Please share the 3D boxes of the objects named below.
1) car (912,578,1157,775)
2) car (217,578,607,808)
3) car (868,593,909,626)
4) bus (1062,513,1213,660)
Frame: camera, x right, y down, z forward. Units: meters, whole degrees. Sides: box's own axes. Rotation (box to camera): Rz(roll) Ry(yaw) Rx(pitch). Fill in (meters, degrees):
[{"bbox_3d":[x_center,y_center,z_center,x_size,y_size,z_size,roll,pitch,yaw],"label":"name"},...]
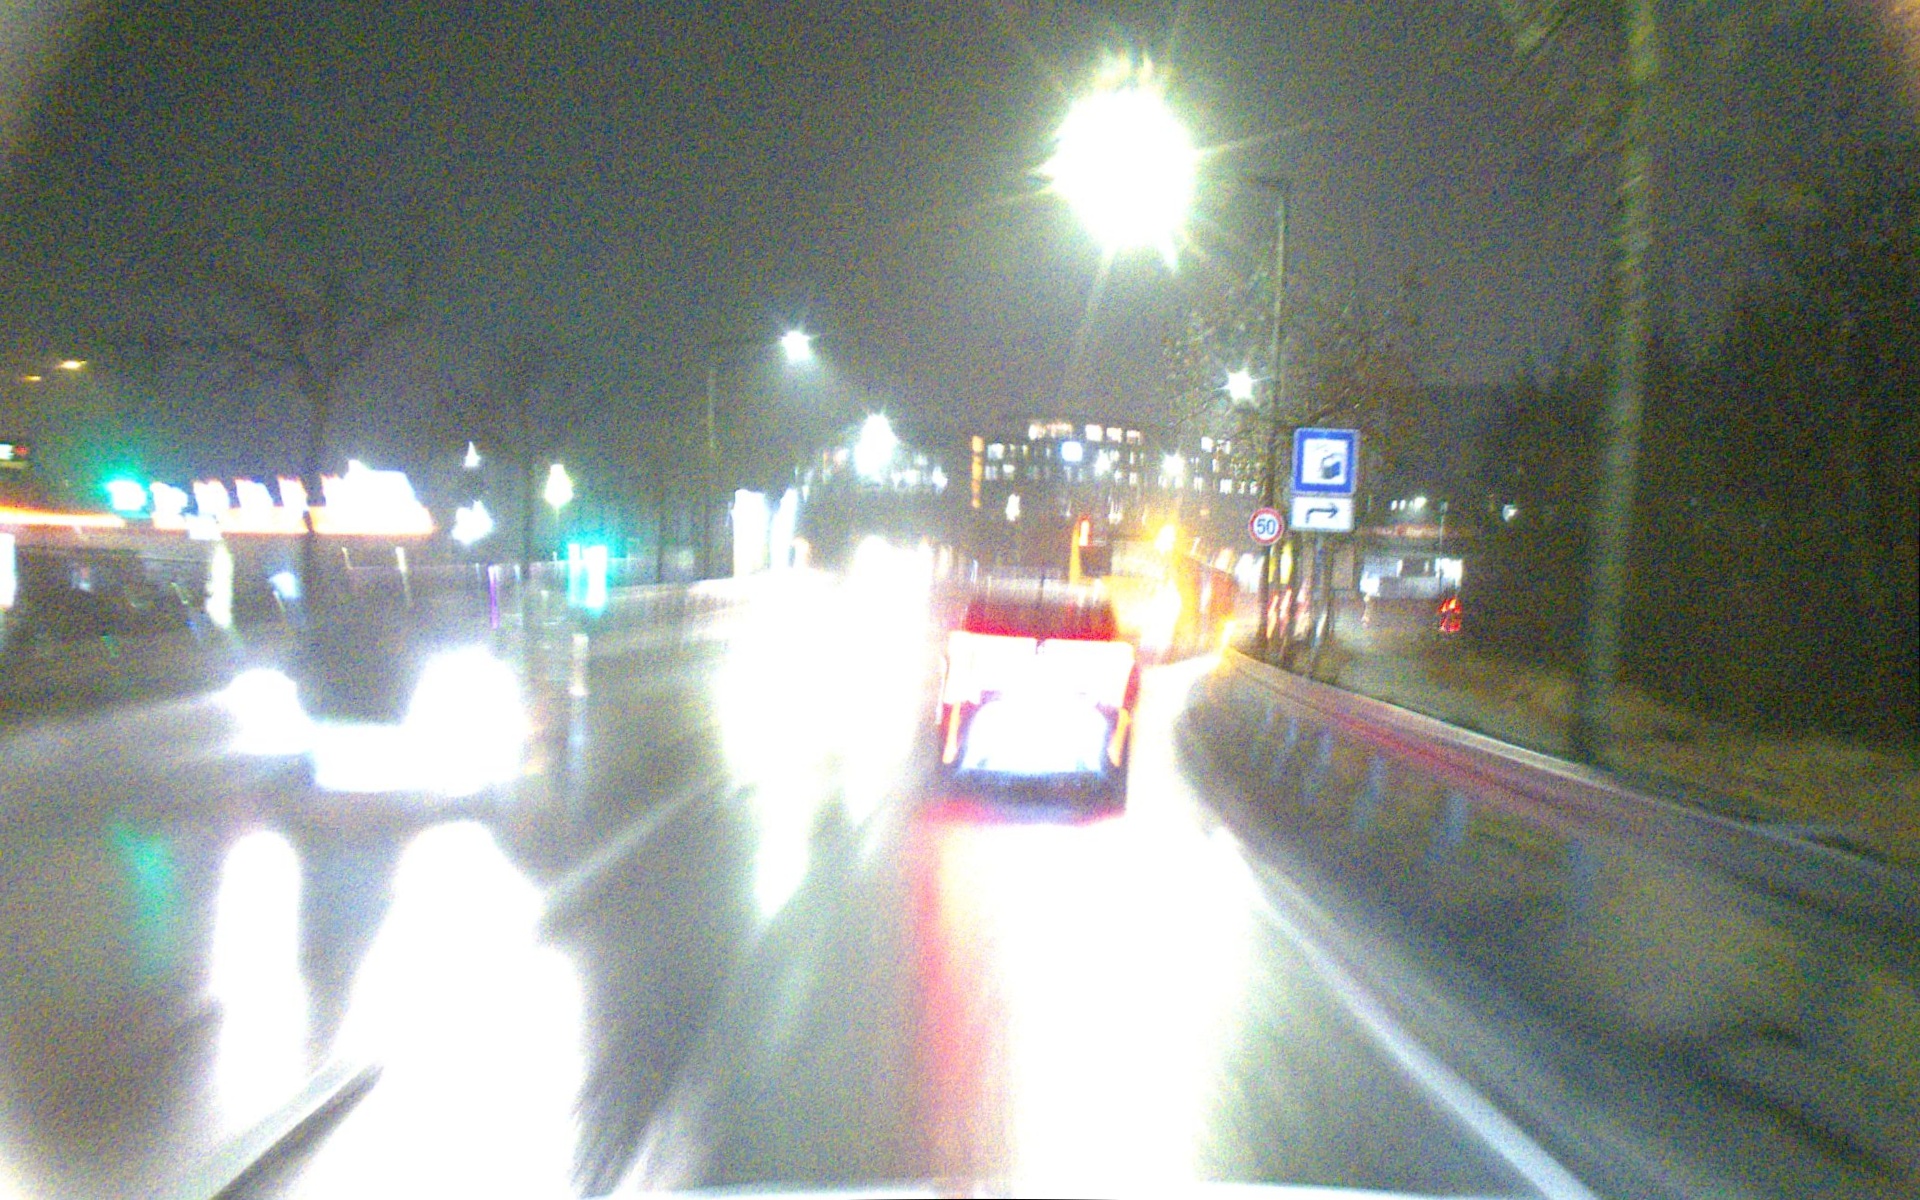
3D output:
[{"bbox_3d":[0.693,0.586,15.281,1.952,1.551,4.002,1,1,3],"label":"car"},{"bbox_3d":[-3.959,0.575,12.674,1.787,1.427,4.034,2,1,-3],"label":"car"},{"bbox_3d":[-3.529,0.457,82.161,1.788,1.530,4.188,2,0,1],"label":"car"},{"bbox_3d":[4.656,-0.341,41.534,2.978,3.268,9.058,0,0,11],"label":"bus"}]
